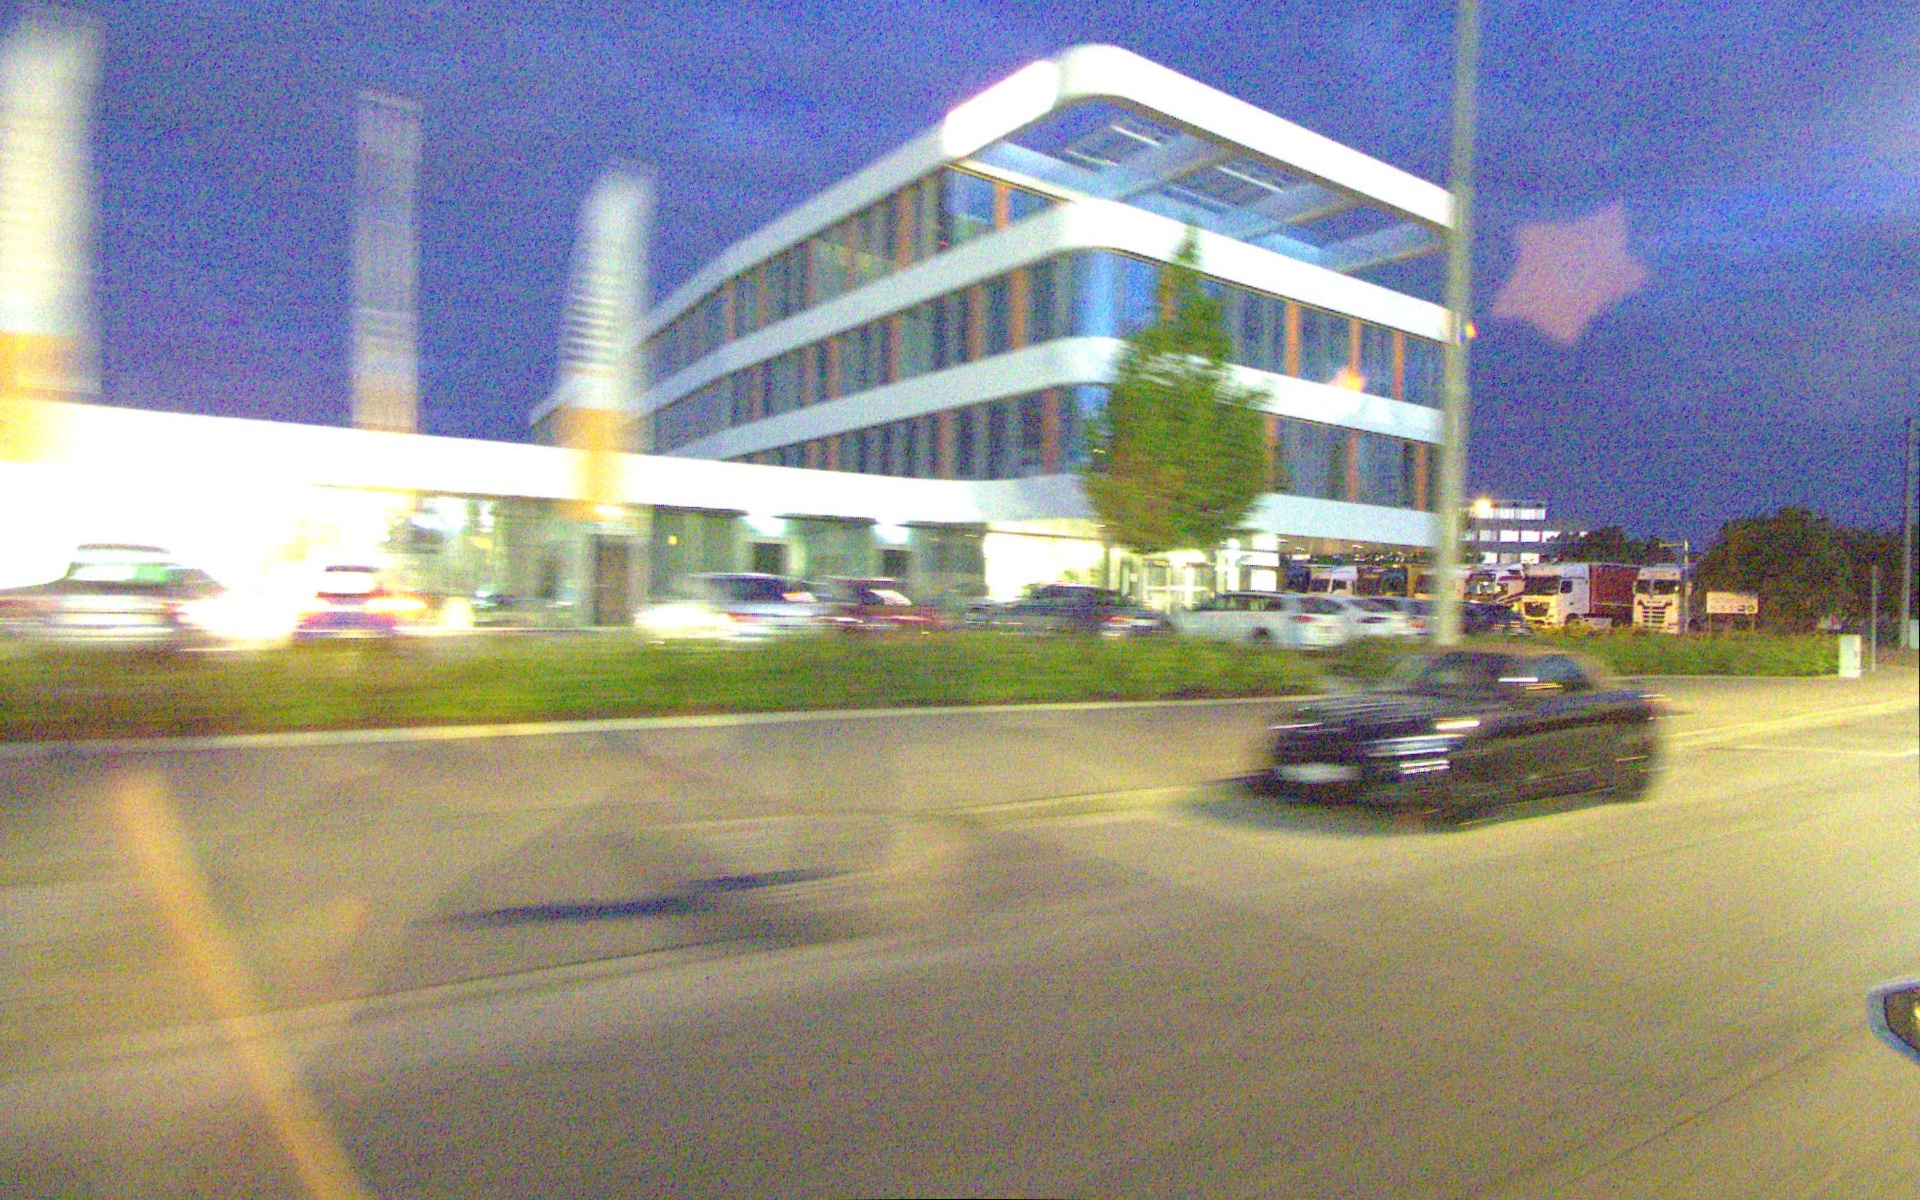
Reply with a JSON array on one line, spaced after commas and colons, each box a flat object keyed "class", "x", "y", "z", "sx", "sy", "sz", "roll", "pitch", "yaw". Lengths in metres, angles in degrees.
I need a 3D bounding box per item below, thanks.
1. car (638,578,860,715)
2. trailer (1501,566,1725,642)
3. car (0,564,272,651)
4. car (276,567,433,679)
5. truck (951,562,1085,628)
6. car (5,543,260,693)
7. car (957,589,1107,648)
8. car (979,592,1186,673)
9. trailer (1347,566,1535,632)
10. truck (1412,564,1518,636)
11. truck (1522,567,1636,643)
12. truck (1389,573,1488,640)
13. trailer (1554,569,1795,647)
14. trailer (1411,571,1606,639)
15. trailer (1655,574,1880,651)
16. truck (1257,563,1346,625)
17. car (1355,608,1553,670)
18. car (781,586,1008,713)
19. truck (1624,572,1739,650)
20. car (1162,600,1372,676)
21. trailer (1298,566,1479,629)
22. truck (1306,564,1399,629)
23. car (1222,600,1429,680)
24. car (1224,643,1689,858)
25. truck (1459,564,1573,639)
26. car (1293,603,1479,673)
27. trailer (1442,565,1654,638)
[{"class": "car", "x": -3.502, "y": 0.627, "z": 15.912, "sx": 1.941, "sy": 1.840, "sz": 4.581, "roll": 1, "pitch": 0, "yaw": -32}, {"class": "trailer", "x": 41.875, "y": 0.303, "z": 64.304, "sx": 14.759, "sy": 4.416, "sz": 3.057, "roll": 2, "pitch": 1, "yaw": -17}, {"class": "car", "x": -15.611, "y": 0.145, "z": 18.763, "sx": 4.414, "sy": 1.477, "sz": 1.892, "roll": 1, "pitch": 1, "yaw": -32}, {"class": "car", "x": -9.407, "y": 0.305, "z": 15.581, "sx": 1.808, "sy": 1.472, "sz": 4.379, "roll": 1, "pitch": 0, "yaw": -32}, {"class": "truck", "x": 4.182, "y": -0.341, "z": 77.370, "sx": 3.541, "sy": 4.611, "sz": 12.478, "roll": 1, "pitch": 0, "yaw": -33}, {"class": "car", "x": -9.966, "y": 0.183, "z": 12.457, "sx": 1.872, "sy": 1.502, "sz": 4.379, "roll": 1, "pitch": 0, "yaw": -32}, {"class": "car", "x": 2.209, "y": 0.556, "z": 30.409, "sx": 4.157, "sy": 1.663, "sz": 1.982, "roll": 1, "pitch": 1, "yaw": -33}, {"class": "car", "x": 2.298, "y": 0.579, "z": 19.919, "sx": 1.808, "sy": 1.412, "sz": 4.242, "roll": 1, "pitch": 0, "yaw": -32}, {"class": "trailer", "x": 36.051, "y": -0.032, "z": 75.105, "sx": 14.772, "sy": 4.416, "sz": 3.054, "roll": 2, "pitch": 1, "yaw": -20}, {"class": "truck", "x": 33.012, "y": -0.013, "z": 65.705, "sx": 5.476, "sy": 4.416, "sz": 3.057, "roll": 2, "pitch": 1, "yaw": -17}, {"class": "truck", "x": 35.998, "y": 0.263, "z": 58.479, "sx": 4.854, "sy": 4.204, "sz": 3.058, "roll": 2, "pitch": 1, "yaw": -15}, {"class": "truck", "x": 33.120, "y": 0.411, "z": 69.571, "sx": 5.481, "sy": 4.416, "sz": 3.054, "roll": 2, "pitch": 1, "yaw": -20}, {"class": "trailer", "x": 43.026, "y": 0.515, "z": 60.411, "sx": 14.753, "sy": 4.204, "sz": 3.058, "roll": 2, "pitch": 1, "yaw": -15}, {"class": "trailer", "x": 39.255, "y": 0.395, "z": 71.741, "sx": 14.771, "sy": 4.416, "sz": 3.054, "roll": 2, "pitch": 1, "yaw": -19}, {"class": "trailer", "x": 45.924, "y": 0.767, "z": 56.924, "sx": 14.784, "sy": 3.985, "sz": 3.052, "roll": 2, "pitch": 1, "yaw": -22}, {"class": "truck", "x": 25.680, "y": -0.458, "z": 75.604, "sx": 5.481, "sy": 4.416, "sz": 3.054, "roll": 2, "pitch": 1, "yaw": -20}, {"class": "car", "x": 13.182, "y": 1.002, "z": 27.099, "sx": 2.036, "sy": 1.471, "sz": 4.428, "roll": 1, "pitch": 0, "yaw": -29}, {"class": "car", "x": -1.251, "y": 0.740, "z": 16.914, "sx": 1.941, "sy": 1.840, "sz": 4.379, "roll": 1, "pitch": -1, "yaw": -32}, {"class": "truck", "x": 38.745, "y": 0.590, "z": 54.001, "sx": 4.438, "sy": 3.985, "sz": 3.052, "roll": 1, "pitch": 1, "yaw": -22}, {"class": "car", "x": 6.753, "y": 0.777, "z": 22.580, "sx": 1.831, "sy": 1.498, "sz": 4.379, "roll": 1, "pitch": 0, "yaw": -32}, {"class": "trailer", "x": 33.536, "y": -0.156, "z": 78.471, "sx": 14.772, "sy": 4.416, "sz": 3.054, "roll": 2, "pitch": 1, "yaw": -20}, {"class": "truck", "x": 28.208, "y": -0.252, "z": 72.286, "sx": 5.481, "sy": 4.416, "sz": 3.054, "roll": 2, "pitch": 1, "yaw": -20}, {"class": "car", "x": 8.651, "y": 0.887, "z": 24.141, "sx": 1.942, "sy": 1.703, "sz": 4.376, "roll": 1, "pitch": 0, "yaw": -34}, {"class": "car", "x": 4.495, "y": 1.120, "z": 8.867, "sx": 4.316, "sy": 1.389, "sz": 1.803, "roll": 1, "pitch": 0, "yaw": -34}, {"class": "truck", "x": 34.292, "y": 0.100, "z": 62.027, "sx": 5.475, "sy": 4.416, "sz": 3.057, "roll": 2, "pitch": 1, "yaw": -16}, {"class": "car", "x": 10.836, "y": 0.918, "z": 25.817, "sx": 1.822, "sy": 1.600, "sz": 4.108, "roll": 1, "pitch": 0, "yaw": -33}, {"class": "trailer", "x": 39.713, "y": 0.169, "z": 67.729, "sx": 14.759, "sy": 4.416, "sz": 3.057, "roll": 2, "pitch": 1, "yaw": -17}]
